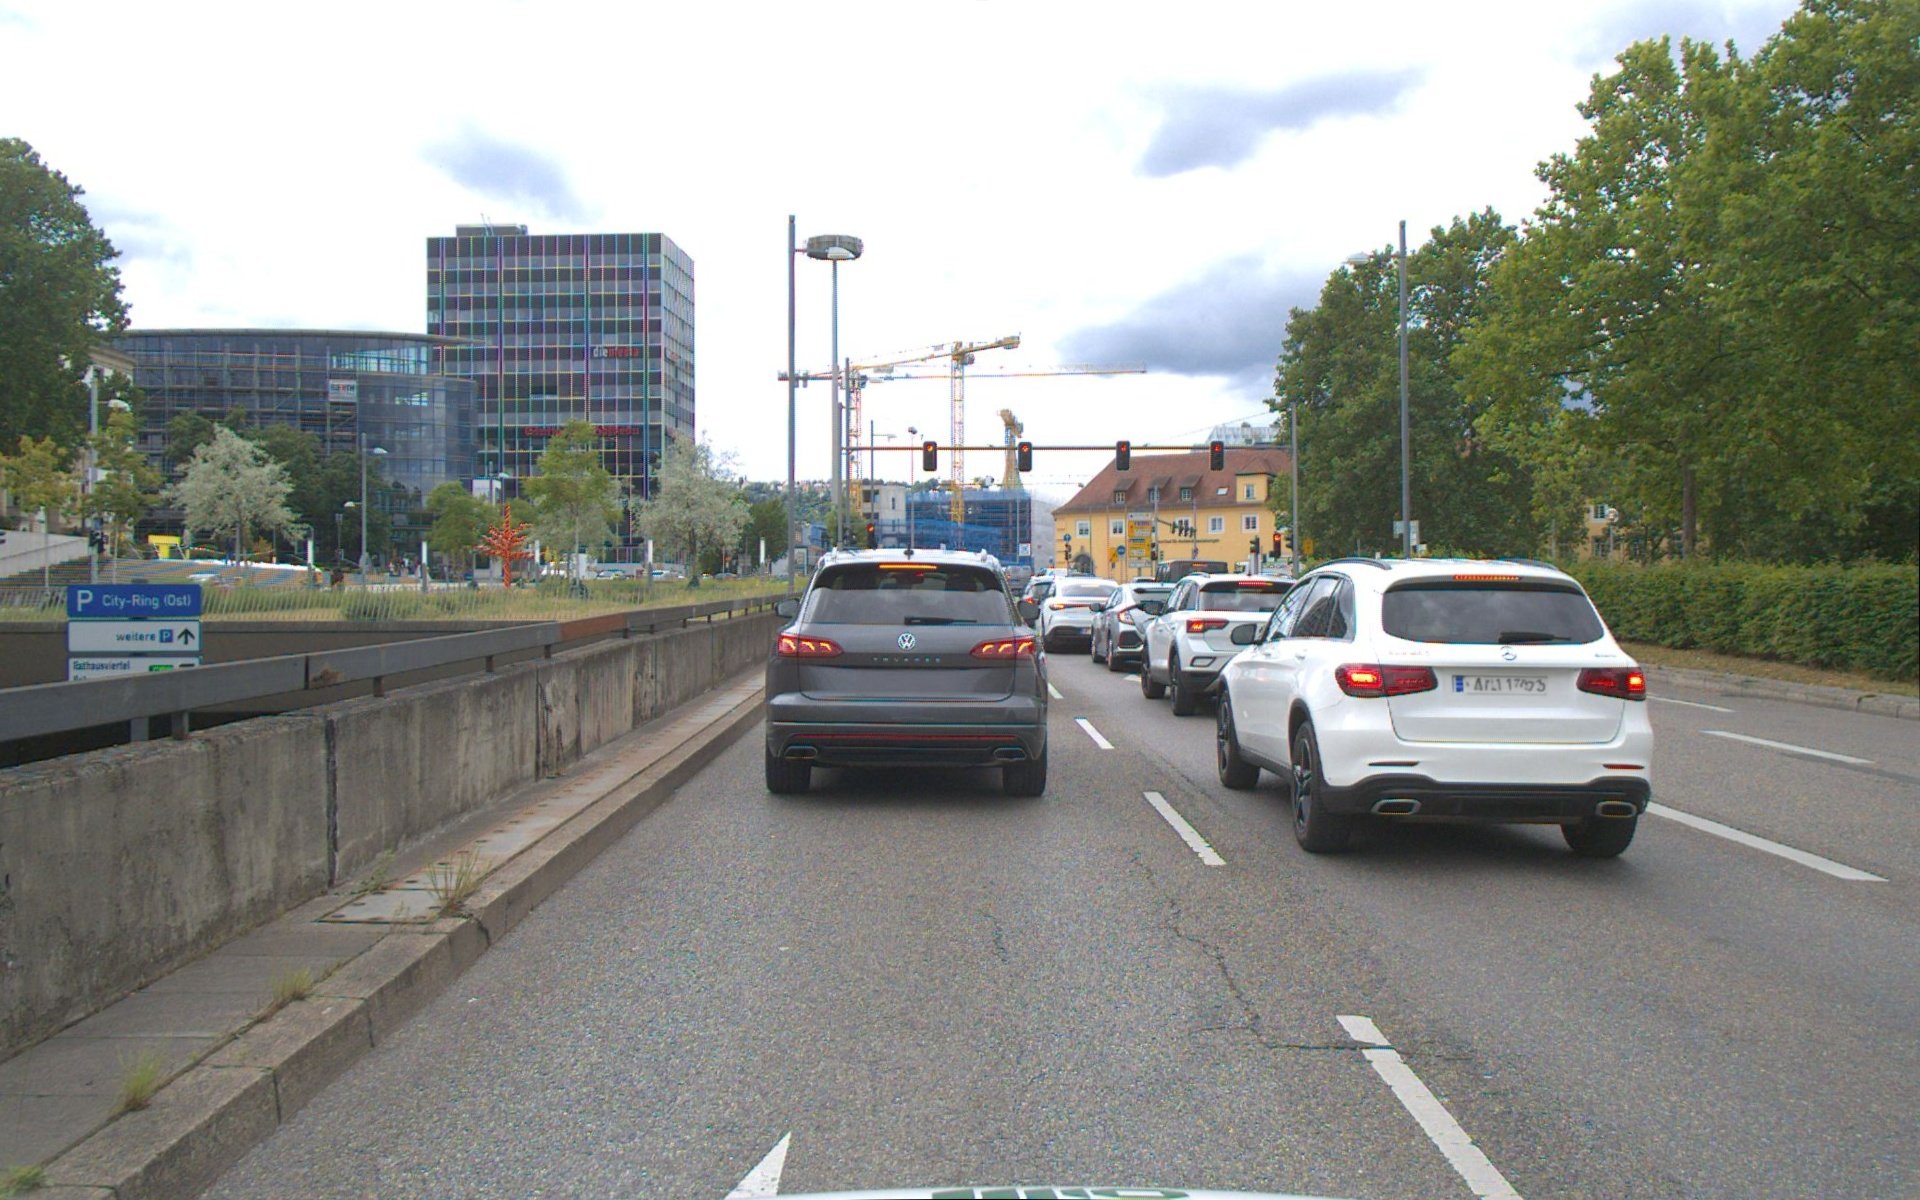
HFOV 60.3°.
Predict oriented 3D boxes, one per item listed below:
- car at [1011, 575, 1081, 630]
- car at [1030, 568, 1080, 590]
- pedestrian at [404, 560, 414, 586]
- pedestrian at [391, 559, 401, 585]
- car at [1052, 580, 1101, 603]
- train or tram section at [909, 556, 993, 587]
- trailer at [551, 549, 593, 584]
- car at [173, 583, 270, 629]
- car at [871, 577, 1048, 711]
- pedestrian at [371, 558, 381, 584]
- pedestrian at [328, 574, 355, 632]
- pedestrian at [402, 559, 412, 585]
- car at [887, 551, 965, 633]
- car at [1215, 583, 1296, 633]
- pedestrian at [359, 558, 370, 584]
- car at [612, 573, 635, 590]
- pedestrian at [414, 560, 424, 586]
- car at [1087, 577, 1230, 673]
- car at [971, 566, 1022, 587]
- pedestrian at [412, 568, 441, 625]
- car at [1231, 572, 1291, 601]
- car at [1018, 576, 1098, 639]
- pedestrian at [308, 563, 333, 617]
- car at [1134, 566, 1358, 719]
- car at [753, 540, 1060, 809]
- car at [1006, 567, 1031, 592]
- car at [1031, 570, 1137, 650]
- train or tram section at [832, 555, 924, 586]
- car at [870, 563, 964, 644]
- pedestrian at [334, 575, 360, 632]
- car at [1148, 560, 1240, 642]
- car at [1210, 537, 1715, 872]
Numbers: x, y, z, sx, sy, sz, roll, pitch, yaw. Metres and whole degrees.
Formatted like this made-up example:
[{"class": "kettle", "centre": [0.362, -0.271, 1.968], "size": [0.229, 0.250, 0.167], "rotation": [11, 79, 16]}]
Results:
[{"class": "car", "centre": [2.542, 0.067, 49.784], "size": [1.887, 1.556, 4.048], "rotation": [1, 0, 0]}, {"class": "car", "centre": [9.289, -2.039, 161.756], "size": [4.367, 2.049, 1.994], "rotation": [1, -1, 33]}, {"class": "pedestrian", "centre": [-44.120, -2.187, 132.486], "size": [0.728, 2.048, 0.788], "rotation": [-1, 2, -21]}, {"class": "pedestrian", "centre": [-44.408, -2.222, 130.193], "size": [0.728, 2.048, 1.108], "rotation": [-1, 2, -21]}, {"class": "car", "centre": [10.935, -0.824, 155.326], "size": [4.367, 2.049, 1.697], "rotation": [1, -1, 33]}, {"class": "train or tram section", "centre": [-0.947, -2.966, 172.293], "size": [8.768, 3.062, 2.588], "rotation": [1, -1, 35]}, {"class": "trailer", "centre": [-30.535, -2.650, 130.272], "size": [1.996, 2.650, 5.508], "rotation": [2, 1, -1]}, {"class": "car", "centre": [-31.570, 0.222, 70.827], "size": [2.130, 1.887, 4.735], "rotation": [0, 1, -2]}, {"class": "car", "centre": [-0.041, 0.464, 20.146], "size": [1.912, 1.408, 3.930], "rotation": [2, 1, -1]}, {"class": "pedestrian", "centre": [-46.213, -2.277, 130.840], "size": [0.728, 2.048, 0.788], "rotation": [-1, 2, -21]}, {"class": "pedestrian", "centre": [-22.386, 0.103, 59.876], "size": [0.781, 2.048, 0.829], "rotation": [-1, 1, -28]}, {"class": "pedestrian", "centre": [-43.673, -2.193, 130.605], "size": [0.728, 2.048, 0.788], "rotation": [-1, 2, -21]}, {"class": "car", "centre": [-0.906, -0.228, 44.277], "size": [1.912, 2.053, 3.930], "rotation": [2, 1, -1]}, {"class": "car", "centre": [9.180, 0.238, 51.647], "size": [1.722, 1.472, 3.632], "rotation": [2, 0, -2]}, {"class": "pedestrian", "centre": [-47.251, -2.307, 131.227], "size": [0.728, 2.048, 0.788], "rotation": [-1, 2, -21]}, {"class": "car", "centre": [-33.016, -1.791, 162.287], "size": [1.698, 1.521, 3.593], "rotation": [2, -1, -3]}, {"class": "pedestrian", "centre": [-43.246, -2.152, 132.191], "size": [0.728, 2.048, 1.108], "rotation": [-1, 2, -21]}, {"class": "car", "centre": [3.261, 0.389, 27.963], "size": [1.887, 1.457, 4.490], "rotation": [1, 0, 0]}, {"class": "car", "centre": [3.145, -2.018, 142.440], "size": [4.029, 1.638, 1.823], "rotation": [1, -1, 35]}, {"class": "pedestrian", "centre": [-19.389, -0.146, 60.091], "size": [0.842, 2.048, 0.629], "rotation": [0, 2, -2]}, {"class": "car", "centre": [22.694, -1.047, 124.668], "size": [3.917, 2.049, 1.994], "rotation": [1, -1, 33]}, {"class": "car", "centre": [2.532, 0.186, 43.496], "size": [1.887, 1.556, 4.048], "rotation": [1, 0, 0]}, {"class": "pedestrian", "centre": [-24.944, -0.397, 64.553], "size": [0.716, 2.047, 0.628], "rotation": [0, 5, -8]}, {"class": "car", "centre": [3.235, 0.439, 19.587], "size": [1.887, 1.578, 4.490], "rotation": [1, 0, 0]}, {"class": "car", "centre": [-0.368, 0.444, 12.327], "size": [1.912, 1.680, 3.999], "rotation": [0, 1, -1]}, {"class": "car", "centre": [4.161, -1.425, 117.207], "size": [1.586, 1.656, 4.000], "rotation": [2, -1, 0]}, {"class": "car", "centre": [2.533, 0.193, 34.676], "size": [1.887, 1.556, 4.490], "rotation": [1, 0, 0]}, {"class": "train or tram section", "centre": [-8.846, -3.151, 177.522], "size": [10.210, 3.062, 2.589], "rotation": [1, -1, 33]}, {"class": "car", "centre": [-0.937, 0.057, 36.668], "size": [1.912, 1.627, 3.930], "rotation": [2, 1, -1]}, {"class": "pedestrian", "centre": [-22.468, 0.109, 60.588], "size": [0.781, 2.048, 0.829], "rotation": [-1, 1, -28]}, {"class": "car", "centre": [6.268, 0.018, 44.772], "size": [1.871, 2.049, 4.012], "rotation": [2, 0, 0]}, {"class": "car", "centre": [2.878, 0.490, 10.596], "size": [1.887, 1.682, 4.490], "rotation": [0, 1, 0]}]
